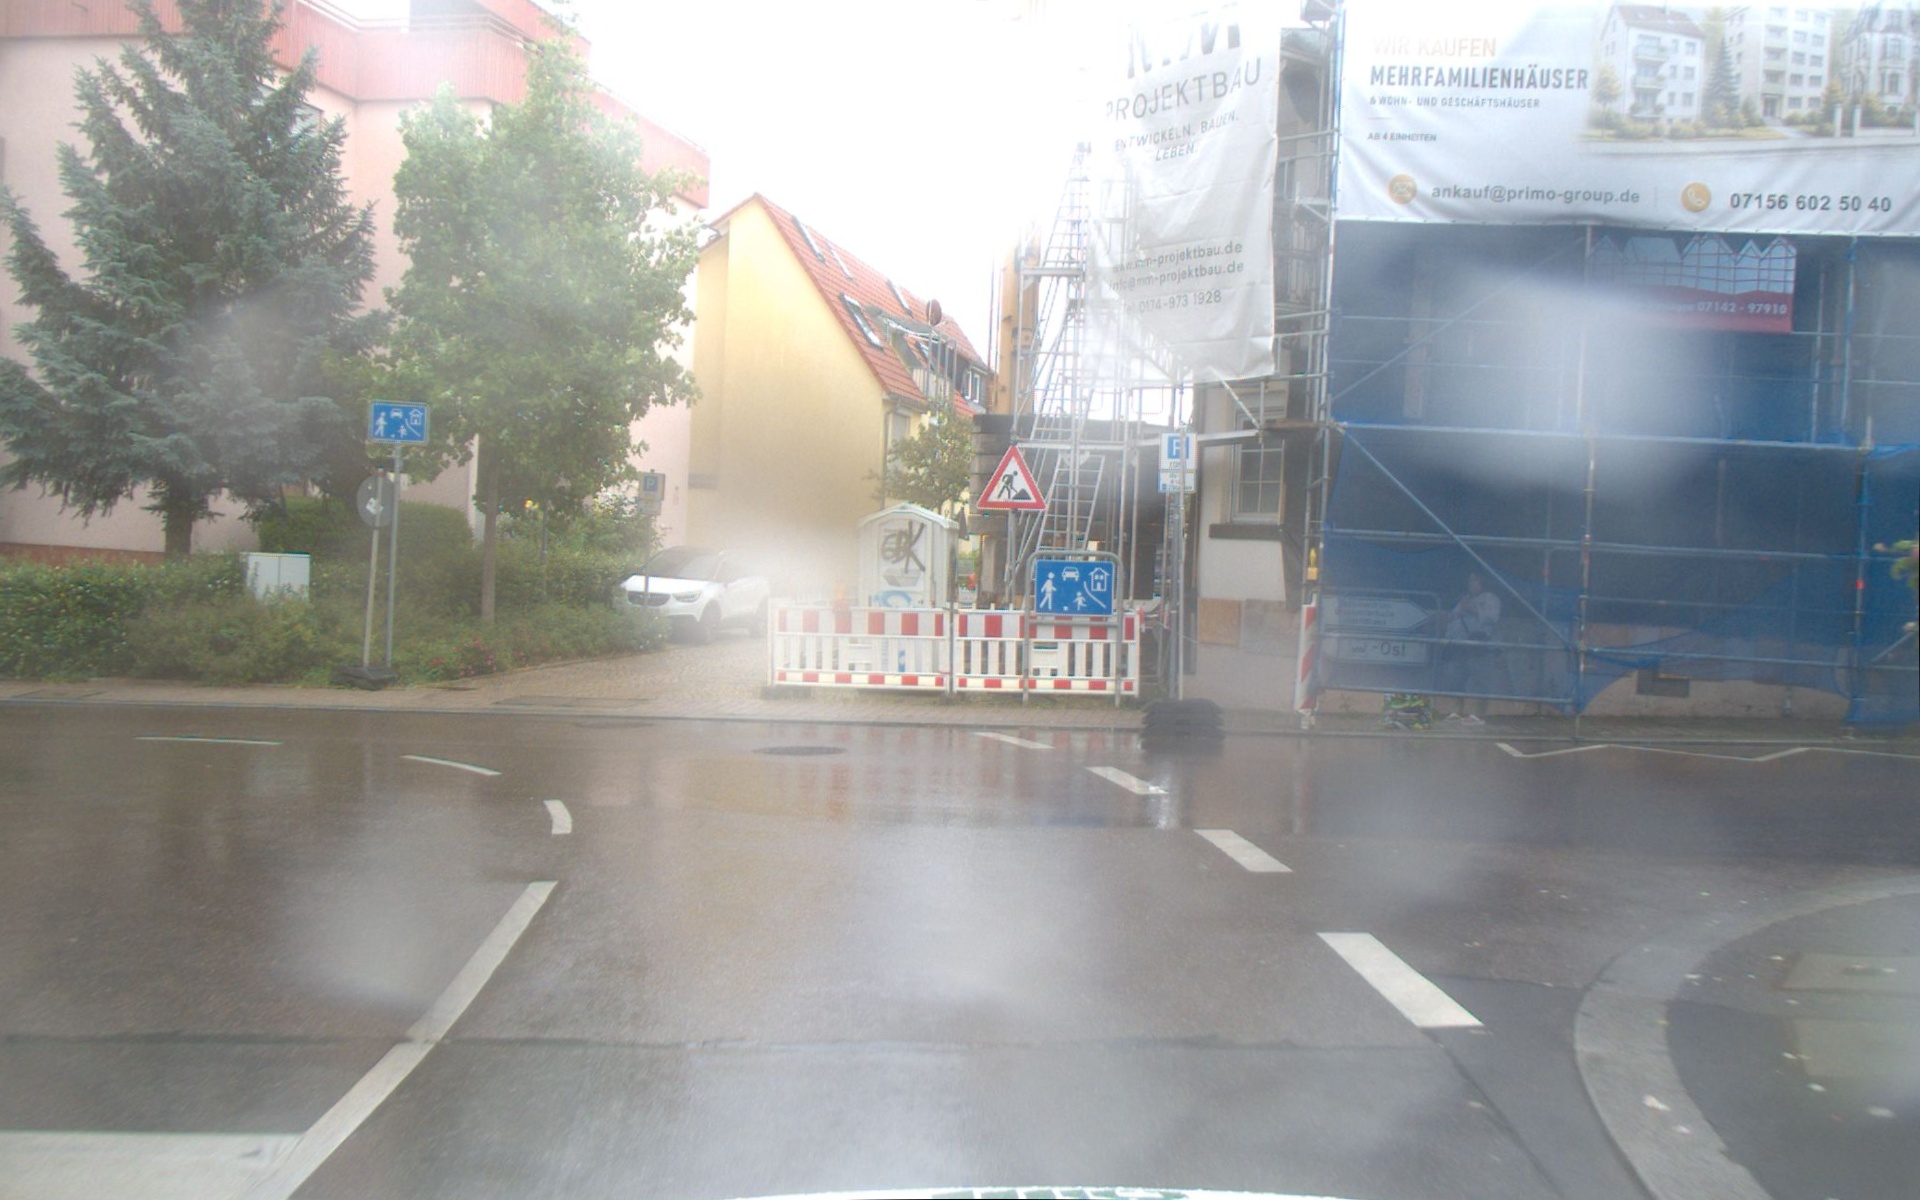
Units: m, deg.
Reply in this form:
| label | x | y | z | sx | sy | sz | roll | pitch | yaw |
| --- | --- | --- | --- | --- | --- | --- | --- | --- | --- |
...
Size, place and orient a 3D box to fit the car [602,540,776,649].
| label | x | y | z | sx | sy | sz | roll | pitch | yaw |
| --- | --- | --- | --- | --- | --- | --- | --- | --- | --- |
| car | -4.736 | -0.142 | 29.445 | 1.566 | 1.706 | 3.942 | 4 | 2 | 14 |
